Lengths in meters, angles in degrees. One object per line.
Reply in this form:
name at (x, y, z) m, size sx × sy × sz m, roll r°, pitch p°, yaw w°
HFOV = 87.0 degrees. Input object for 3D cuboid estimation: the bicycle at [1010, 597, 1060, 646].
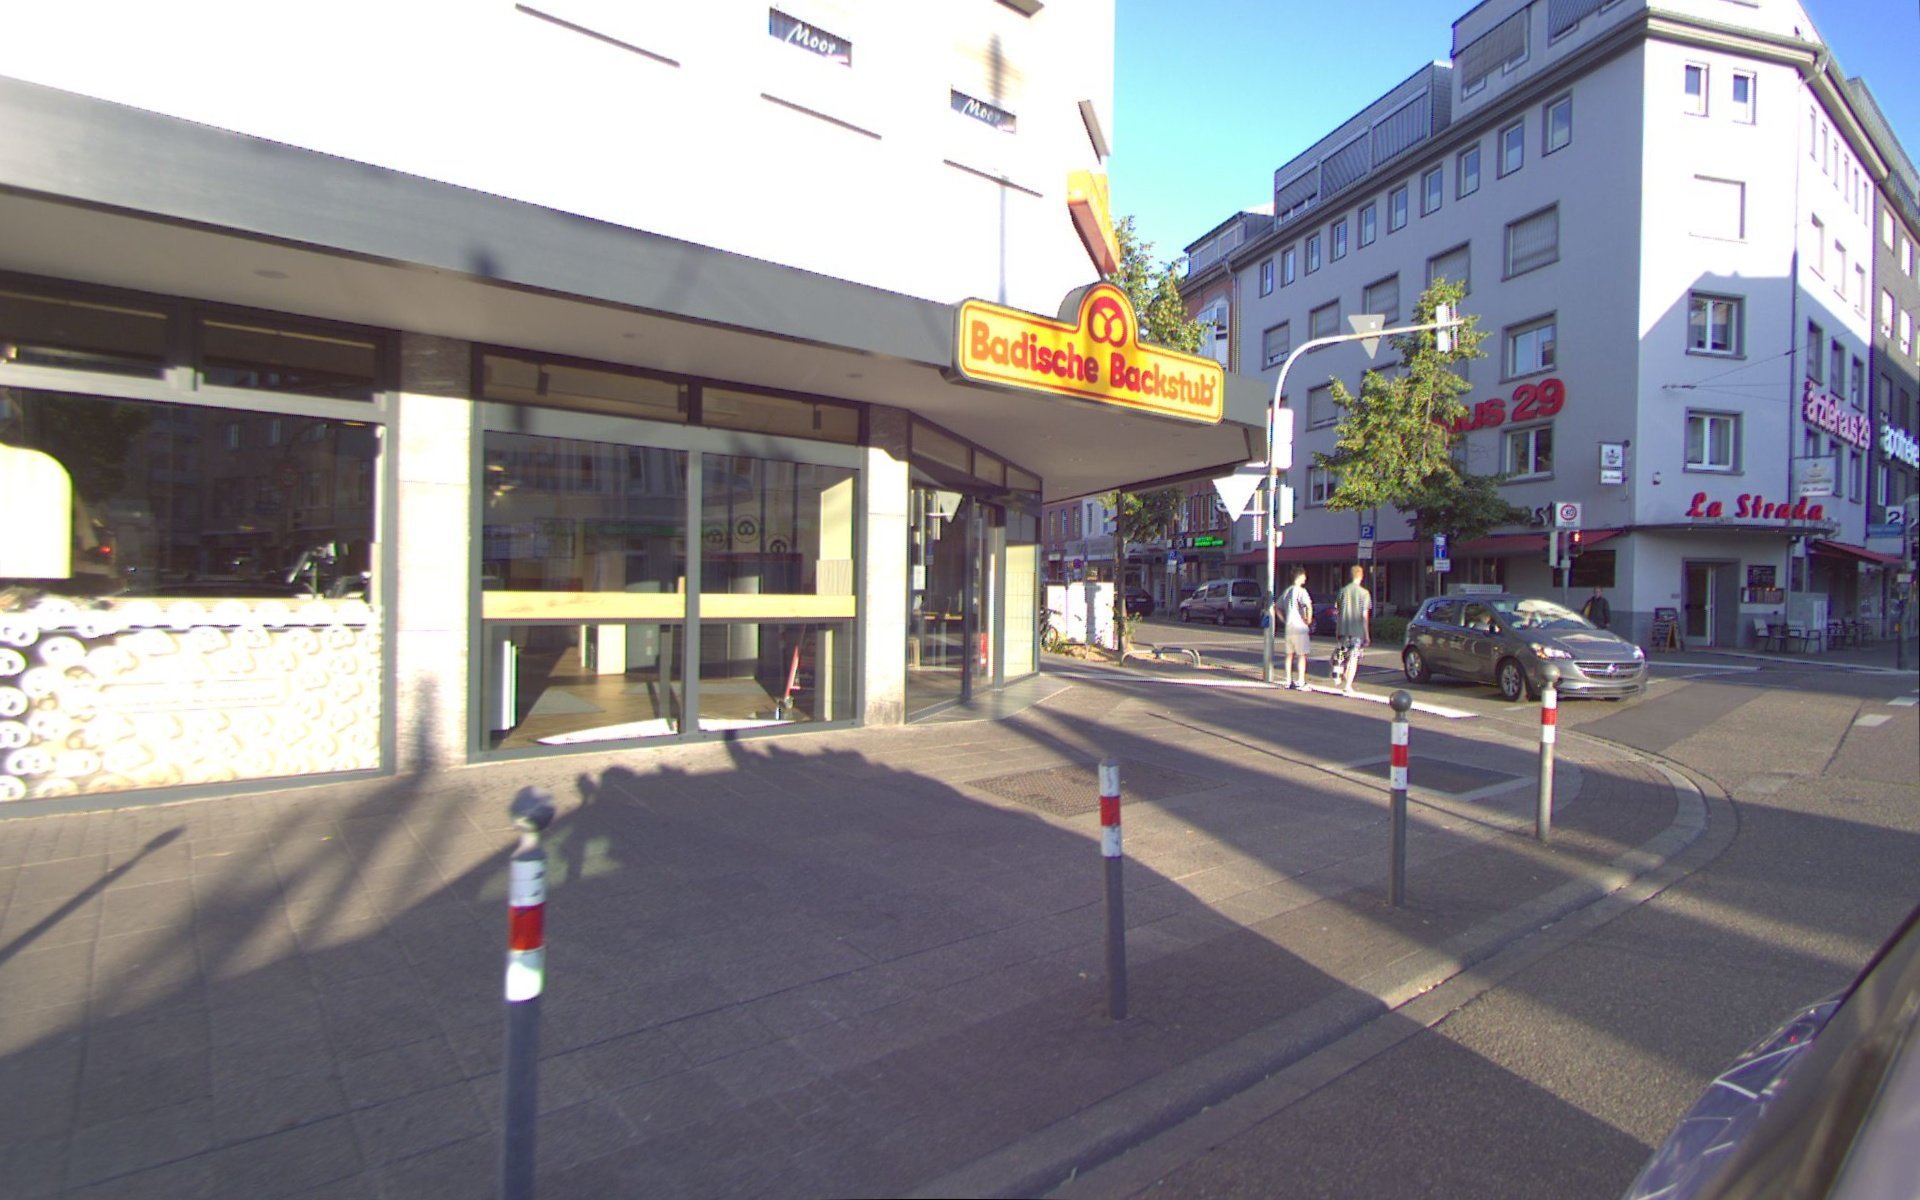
bicycle at (1.654, 0.459, 22.547) m, size 0.396 × 1.023 × 1.674 m, roll 2°, pitch 0°, yaw -20°

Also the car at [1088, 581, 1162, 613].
car at (7.844, -0.180, 48.582) m, size 1.767 × 1.410 × 4.428 m, roll 0°, pitch 2°, yaw -16°

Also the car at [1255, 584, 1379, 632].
car at (11.738, 0.224, 33.590) m, size 1.619 × 1.370 × 4.322 m, roll 1°, pitch 2°, yaw -16°

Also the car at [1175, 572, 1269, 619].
car at (10.155, -0.240, 39.518) m, size 1.684 × 1.684 × 4.010 m, roll -1°, pitch 2°, yaw -18°

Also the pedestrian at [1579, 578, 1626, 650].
pedestrian at (15.446, 0.319, 24.340) m, size 0.576 × 1.677 × 0.798 m, roll 0°, pitch 1°, yaw -42°

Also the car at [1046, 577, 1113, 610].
car at (6.342, -0.370, 54.252) m, size 1.857 × 1.619 × 4.955 m, roll 2°, pitch 1°, yaw -14°

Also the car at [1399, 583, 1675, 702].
car at (8.195, 0.512, 14.818) m, size 1.556 × 1.471 × 3.847 m, roll 0°, pitch 1°, yaw -5°

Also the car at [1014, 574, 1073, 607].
car at (4.963, -0.566, 61.023) m, size 1.932 × 1.908 × 4.958 m, roll 1°, pitch 0°, yaw -15°

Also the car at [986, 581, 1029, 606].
car at (3.126, -0.463, 66.702) m, size 1.701 × 1.544 × 3.851 m, roll 1°, pitch 1°, yaw -15°

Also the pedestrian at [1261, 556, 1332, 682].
pedestrian at (4.945, 0.264, 14.904) m, size 0.627 × 1.795 × 0.749 m, roll 0°, pitch 1°, yaw -36°

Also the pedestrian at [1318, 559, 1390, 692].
pedestrian at (5.478, 0.337, 14.083) m, size 0.747 × 1.795 × 0.577 m, roll 1°, pitch 1°, yaw 44°

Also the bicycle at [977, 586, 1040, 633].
bicycle at (1.289, 0.241, 26.704) m, size 1.628 × 1.209 × 0.494 m, roll 0°, pitch 0°, yaw -28°
